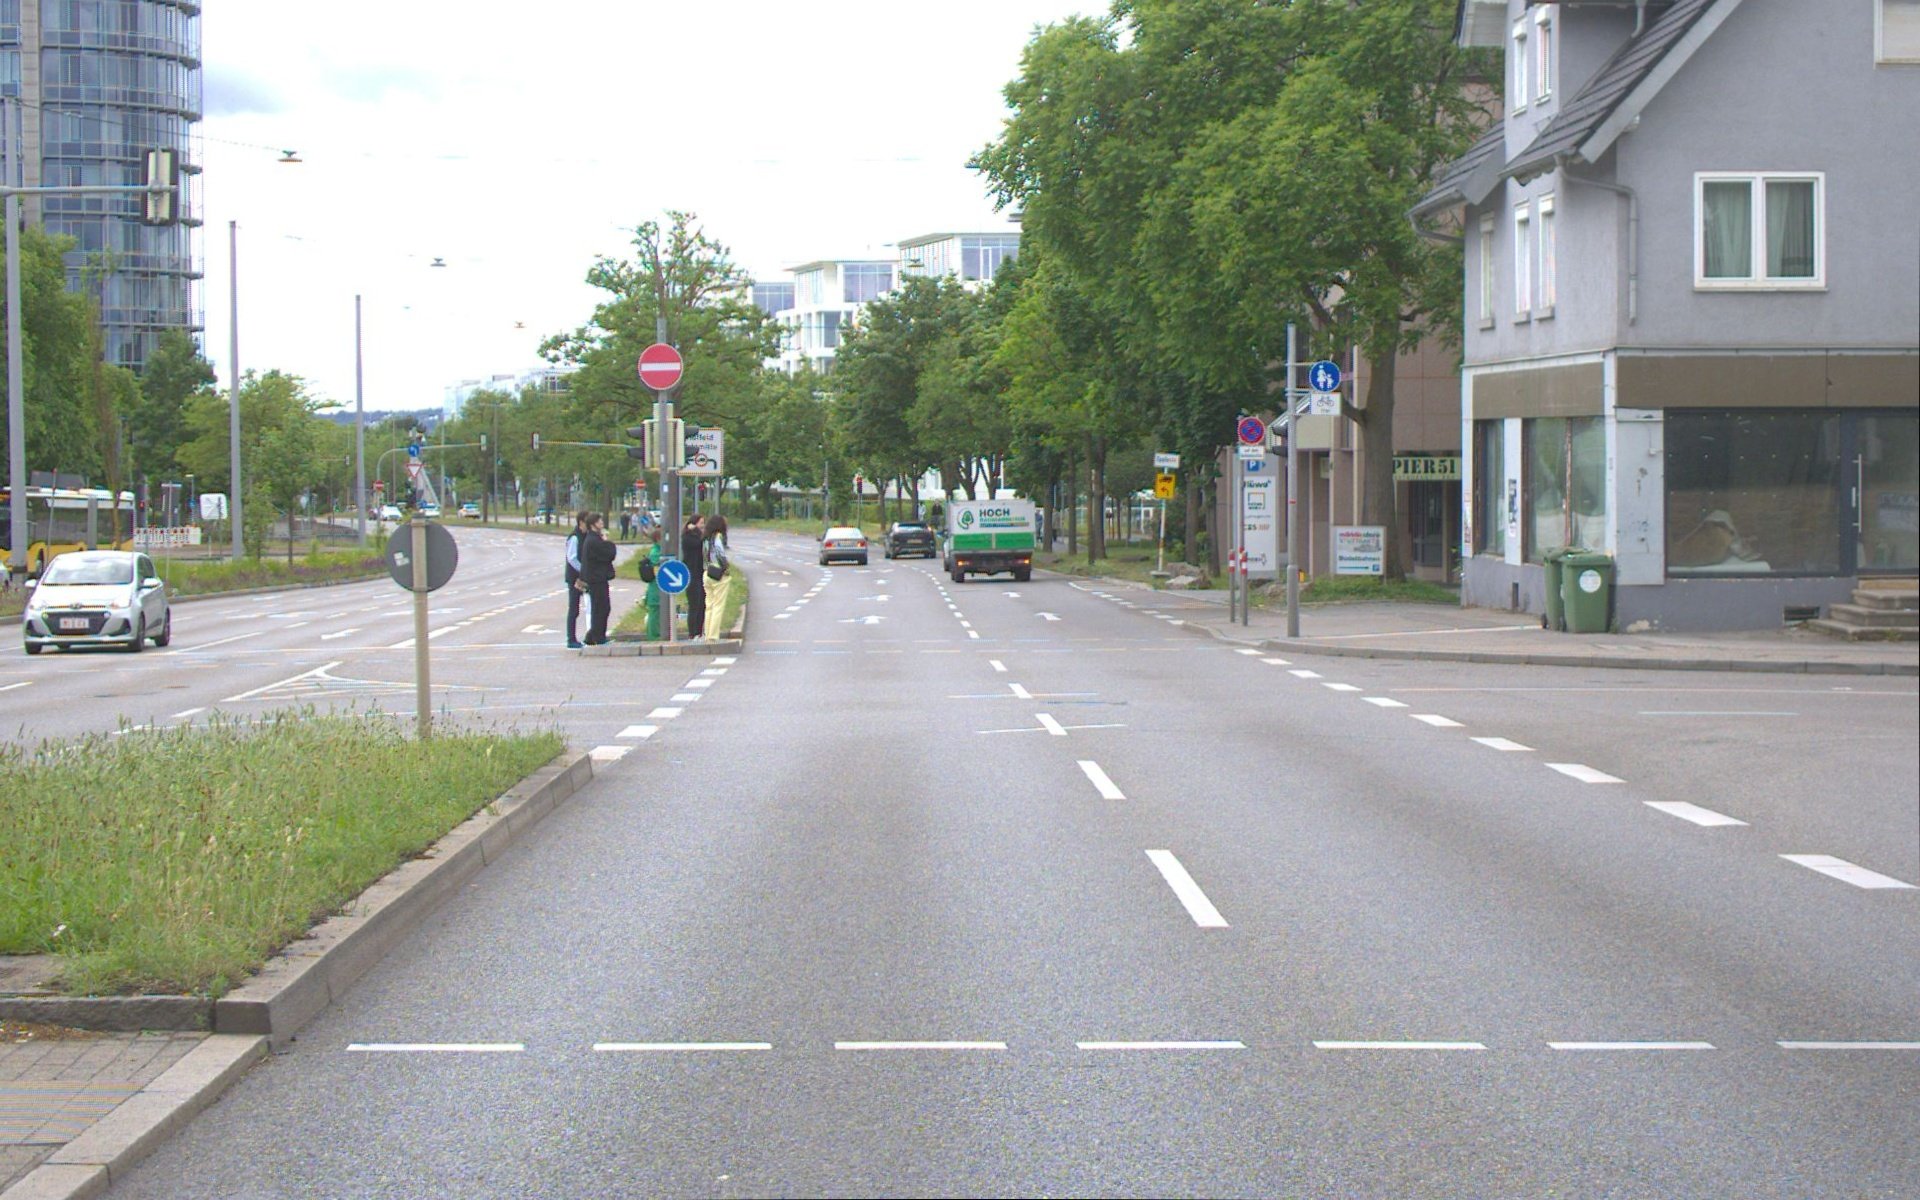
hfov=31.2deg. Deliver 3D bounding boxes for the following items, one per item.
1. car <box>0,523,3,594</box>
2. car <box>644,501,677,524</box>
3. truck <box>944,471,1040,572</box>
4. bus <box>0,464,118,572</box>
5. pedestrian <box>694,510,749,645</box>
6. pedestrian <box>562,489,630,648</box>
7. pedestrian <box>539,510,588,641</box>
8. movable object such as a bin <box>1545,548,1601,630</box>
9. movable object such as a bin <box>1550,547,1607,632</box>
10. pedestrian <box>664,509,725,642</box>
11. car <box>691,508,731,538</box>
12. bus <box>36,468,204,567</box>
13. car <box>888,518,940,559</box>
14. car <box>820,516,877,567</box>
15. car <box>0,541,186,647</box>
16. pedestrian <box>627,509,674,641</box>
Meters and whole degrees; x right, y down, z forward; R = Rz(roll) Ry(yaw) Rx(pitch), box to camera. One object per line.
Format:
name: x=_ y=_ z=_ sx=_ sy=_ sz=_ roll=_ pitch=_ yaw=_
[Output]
car: x=-23.341 y=-0.921 z=78.479 sx=1.806 sy=1.656 sz=4.000 roll=-1 pitch=1 yaw=1
car: x=-20.877 y=-6.096 z=239.388 sx=1.993 sy=1.546 sz=4.001 roll=-1 pitch=1 yaw=-9
truck: x=0.864 y=-2.168 z=93.034 sx=2.471 sy=2.602 sz=6.548 roll=1 pitch=2 yaw=0
bus: x=-30.986 y=-2.672 z=114.087 sx=2.832 sy=3.419 sz=10.732 roll=-1 pitch=1 yaw=3
pedestrian: x=-3.051 y=-0.292 z=43.988 sx=0.653 sy=1.710 sz=0.452 roll=-1 pitch=1 yaw=-7
pedestrian: x=-4.645 y=-0.404 z=43.846 sx=0.829 sy=2.007 sz=0.546 roll=-1 pitch=1 yaw=-7
pedestrian: x=-5.222 y=-0.325 z=45.293 sx=0.612 sy=1.710 sz=0.546 roll=-1 pitch=1 yaw=-7
movable object such as a bin: x=7.915 y=-0.145 z=44.404 sx=0.616 sy=1.039 sz=0.589 roll=1 pitch=1 yaw=1
movable object such as a bin: x=7.893 y=-0.140 z=43.903 sx=0.604 sy=1.056 sz=0.589 roll=1 pitch=1 yaw=1
pedestrian: x=-3.440 y=-0.323 z=44.533 sx=0.745 sy=1.710 sz=0.583 roll=-1 pitch=1 yaw=-7
car: x=-12.784 y=-3.955 z=176.198 sx=1.993 sy=1.514 sz=4.001 roll=-1 pitch=1 yaw=-4
bus: x=-30.373 y=-2.973 z=124.825 sx=2.832 sy=3.419 sz=10.732 roll=-1 pitch=1 yaw=3
car: x=-1.817 y=-2.407 z=134.623 sx=1.993 sy=1.546 sz=4.000 roll=1 pitch=1 yaw=-1
car: x=-4.091 y=-2.174 z=126.321 sx=1.993 sy=1.824 sz=4.000 roll=1 pitch=1 yaw=-1
car: x=-12.863 y=-0.119 z=50.944 sx=1.993 sy=1.481 sz=4.000 roll=-1 pitch=1 yaw=-2
pedestrian: x=-4.075 y=-0.331 z=45.237 sx=0.583 sy=1.710 sz=0.546 roll=-1 pitch=1 yaw=-7
